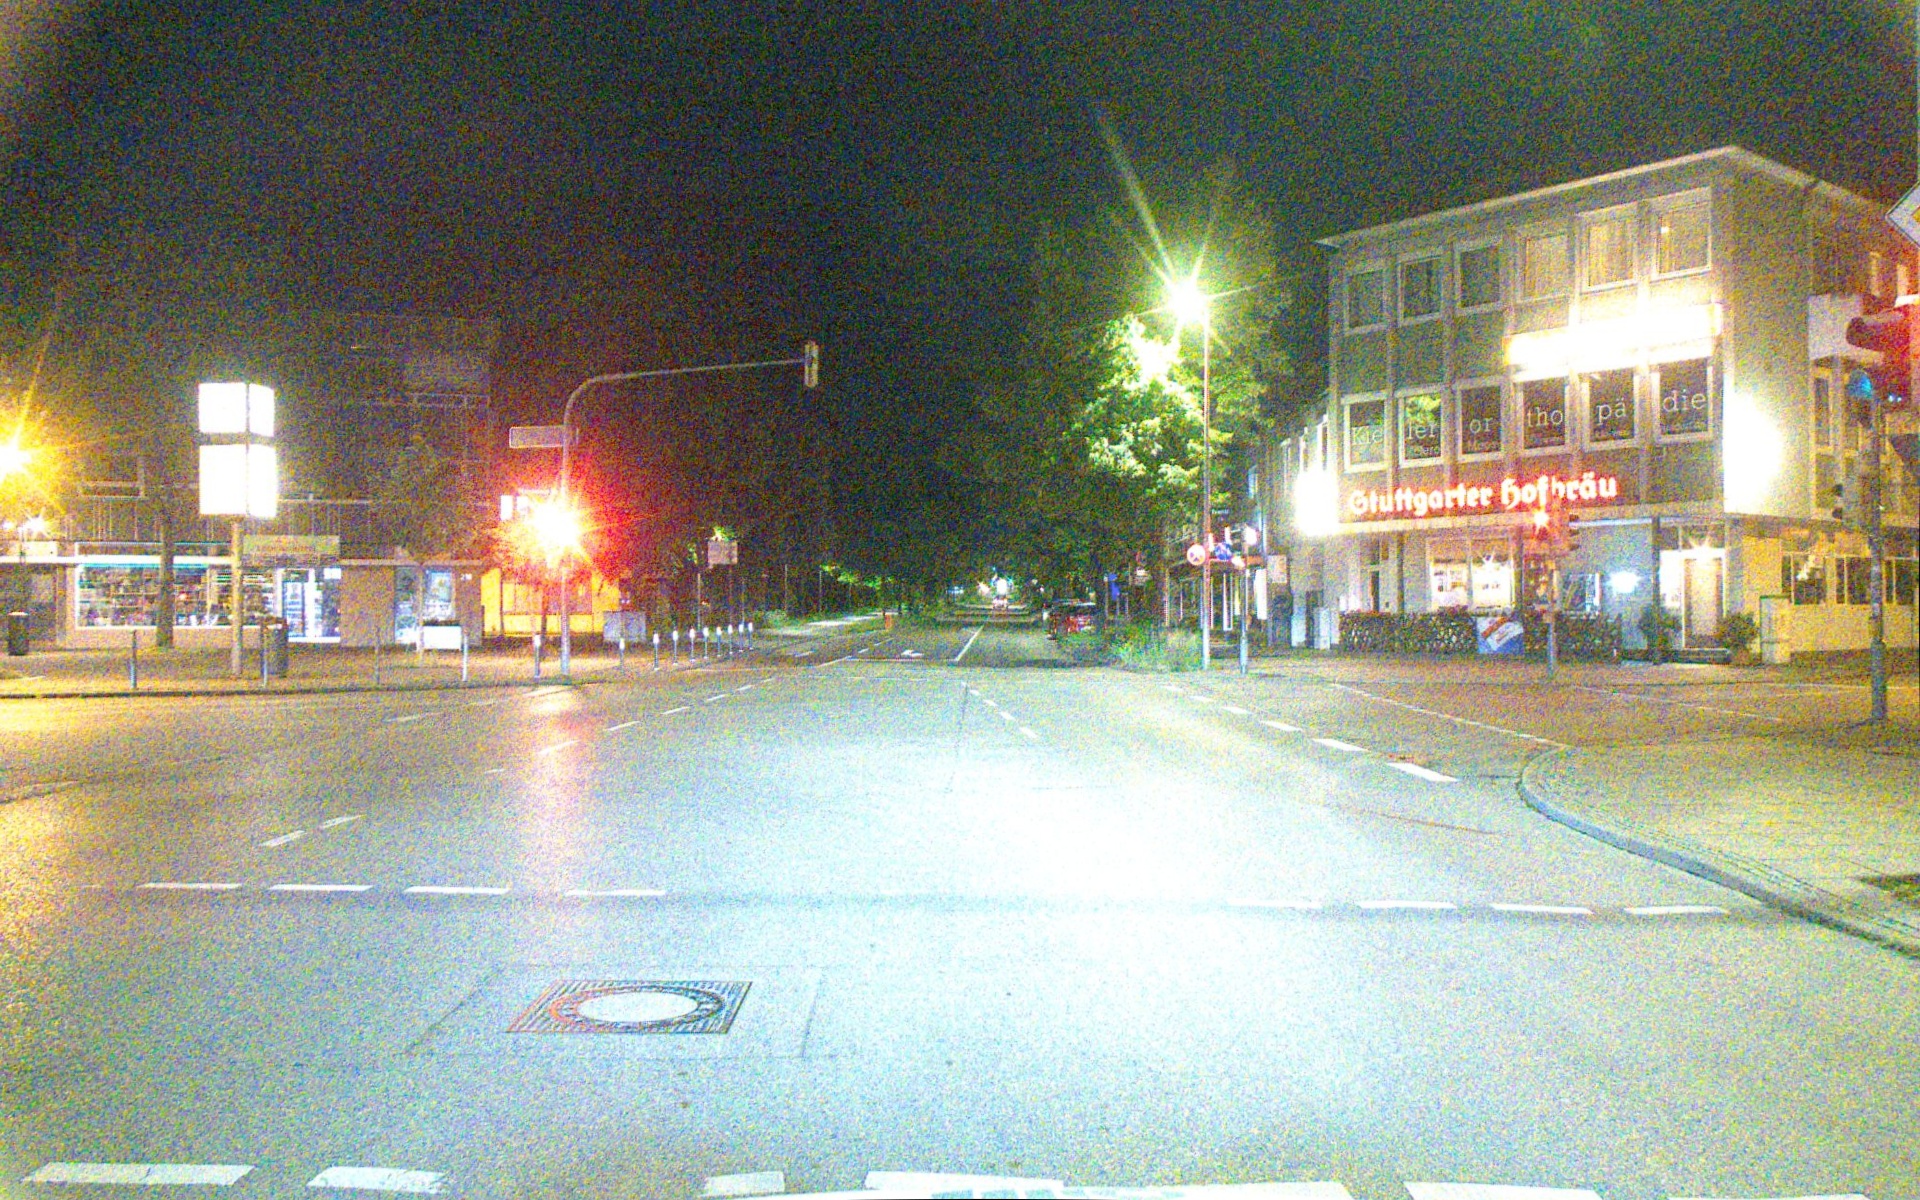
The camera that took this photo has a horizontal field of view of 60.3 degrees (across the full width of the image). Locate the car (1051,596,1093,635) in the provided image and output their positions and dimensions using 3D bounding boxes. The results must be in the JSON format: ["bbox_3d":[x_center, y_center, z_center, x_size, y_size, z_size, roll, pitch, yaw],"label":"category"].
[{"bbox_3d":[5.154,0.716,76.529,1.837,1.759,4.001,0,0,2],"label":"car"}]

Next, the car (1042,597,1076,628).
[{"bbox_3d":[5.655,0.722,94.610,1.837,1.713,4.001,0,0,2],"label":"car"}]

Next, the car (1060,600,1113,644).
[{"bbox_3d":[4.836,0.825,63.696,1.837,1.643,4.001,0,0,2],"label":"car"}]

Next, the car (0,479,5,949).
[{"bbox_3d":[-4.051,0.452,4.130,1.937,1.904,4.885,0,0,-19],"label":"car"}]

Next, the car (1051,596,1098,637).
[{"bbox_3d":[4.730,0.686,68.852,1.837,1.643,4.001,0,0,2],"label":"car"}]

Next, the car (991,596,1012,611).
[{"bbox_3d":[4.462,0.368,179.956,2.181,1.680,4.000,0,0,0],"label":"car"}]
